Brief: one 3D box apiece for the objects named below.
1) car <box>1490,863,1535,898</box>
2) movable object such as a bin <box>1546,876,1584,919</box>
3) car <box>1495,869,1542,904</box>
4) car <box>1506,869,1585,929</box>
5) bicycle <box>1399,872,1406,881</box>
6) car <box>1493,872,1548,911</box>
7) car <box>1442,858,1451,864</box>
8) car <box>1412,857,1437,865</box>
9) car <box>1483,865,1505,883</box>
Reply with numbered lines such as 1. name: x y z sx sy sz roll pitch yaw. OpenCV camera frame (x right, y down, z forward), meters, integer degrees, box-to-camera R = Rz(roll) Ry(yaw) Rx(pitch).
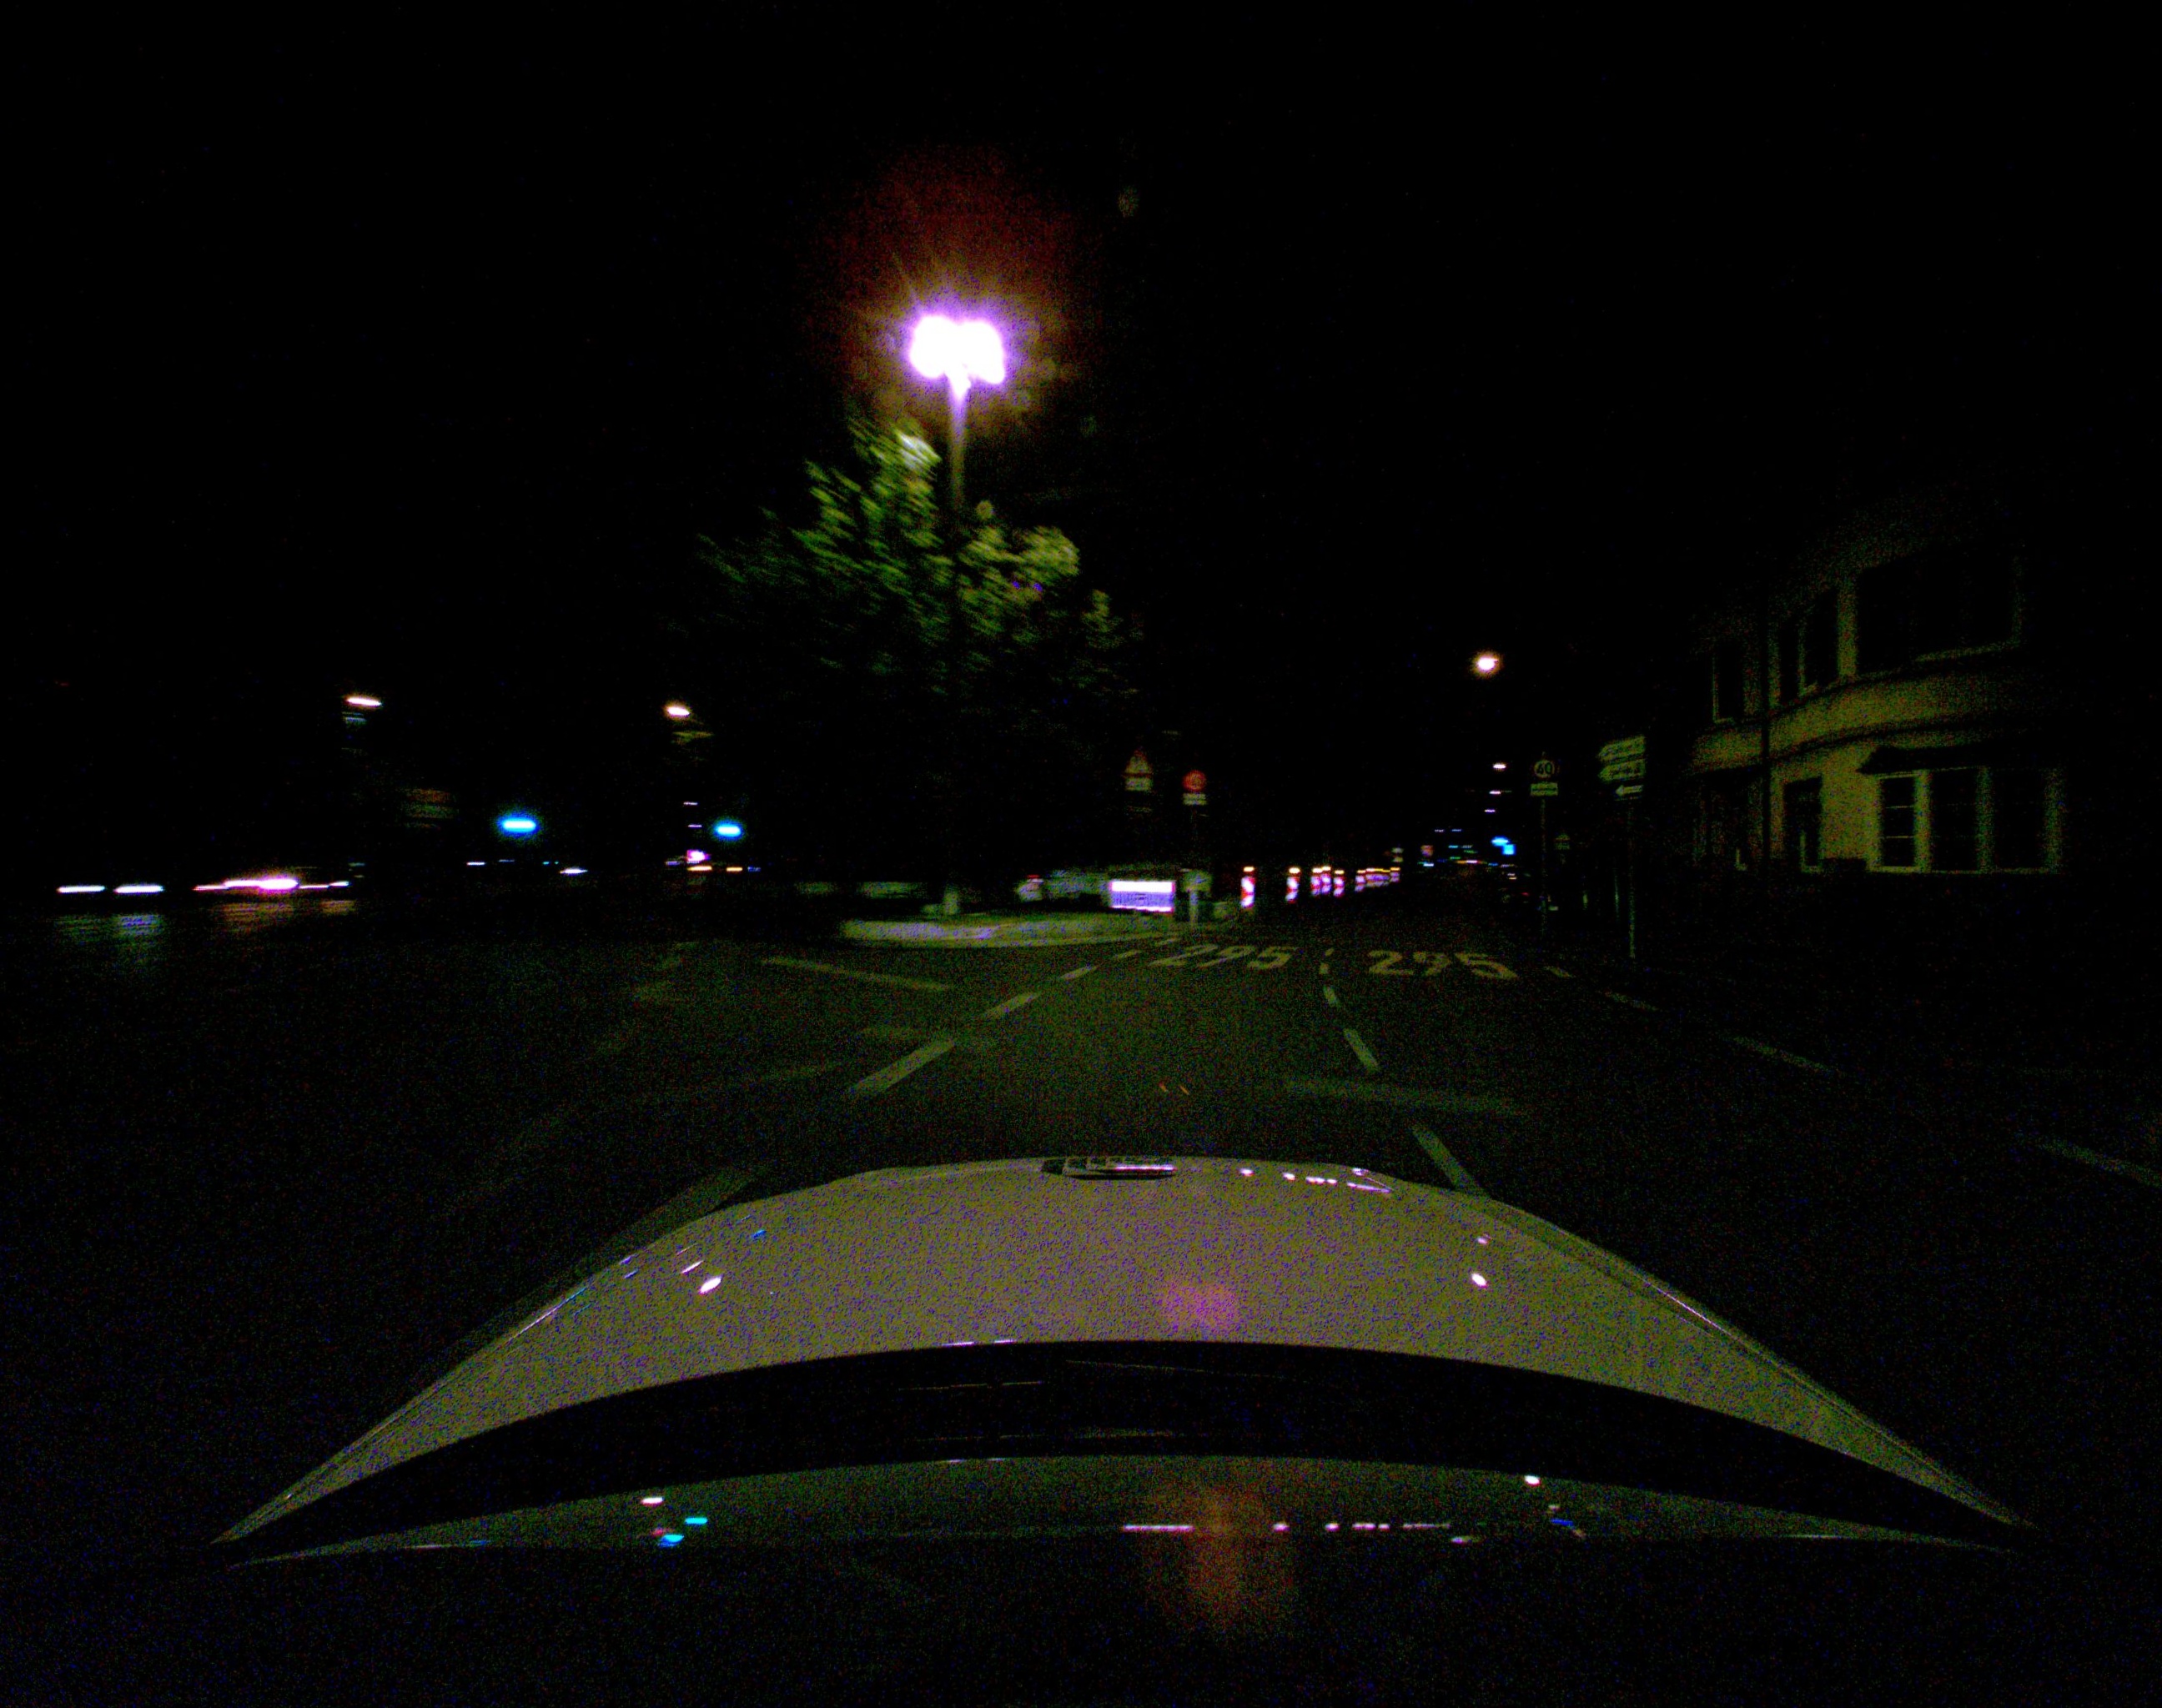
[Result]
1. car: 24.926 1.522 47.235 2.053 1.929 5.401 -2 -2 26
2. movable object such as a bin: 16.748 1.482 28.218 0.929 1.432 1.346 -2 -2 23
3. car: 21.055 1.551 39.286 1.728 1.566 4.234 -2 -2 25
4. car: 14.116 1.324 24.952 1.728 1.683 4.282 -2 -2 25
5. bicycle: 39.312 2.733 99.548 0.613 1.052 1.732 0 -1 27
6. car: 18.660 1.552 34.740 1.728 1.509 4.861 -2 -2 25
7. car: 87.845 1.665 195.768 1.975 1.502 4.023 0 -1 26
8. car: 66.583 1.278 158.026 4.398 1.450 2.011 0 -1 25
9. car: 45.503 2.182 89.879 1.784 1.875 4.799 -2 -1 23
